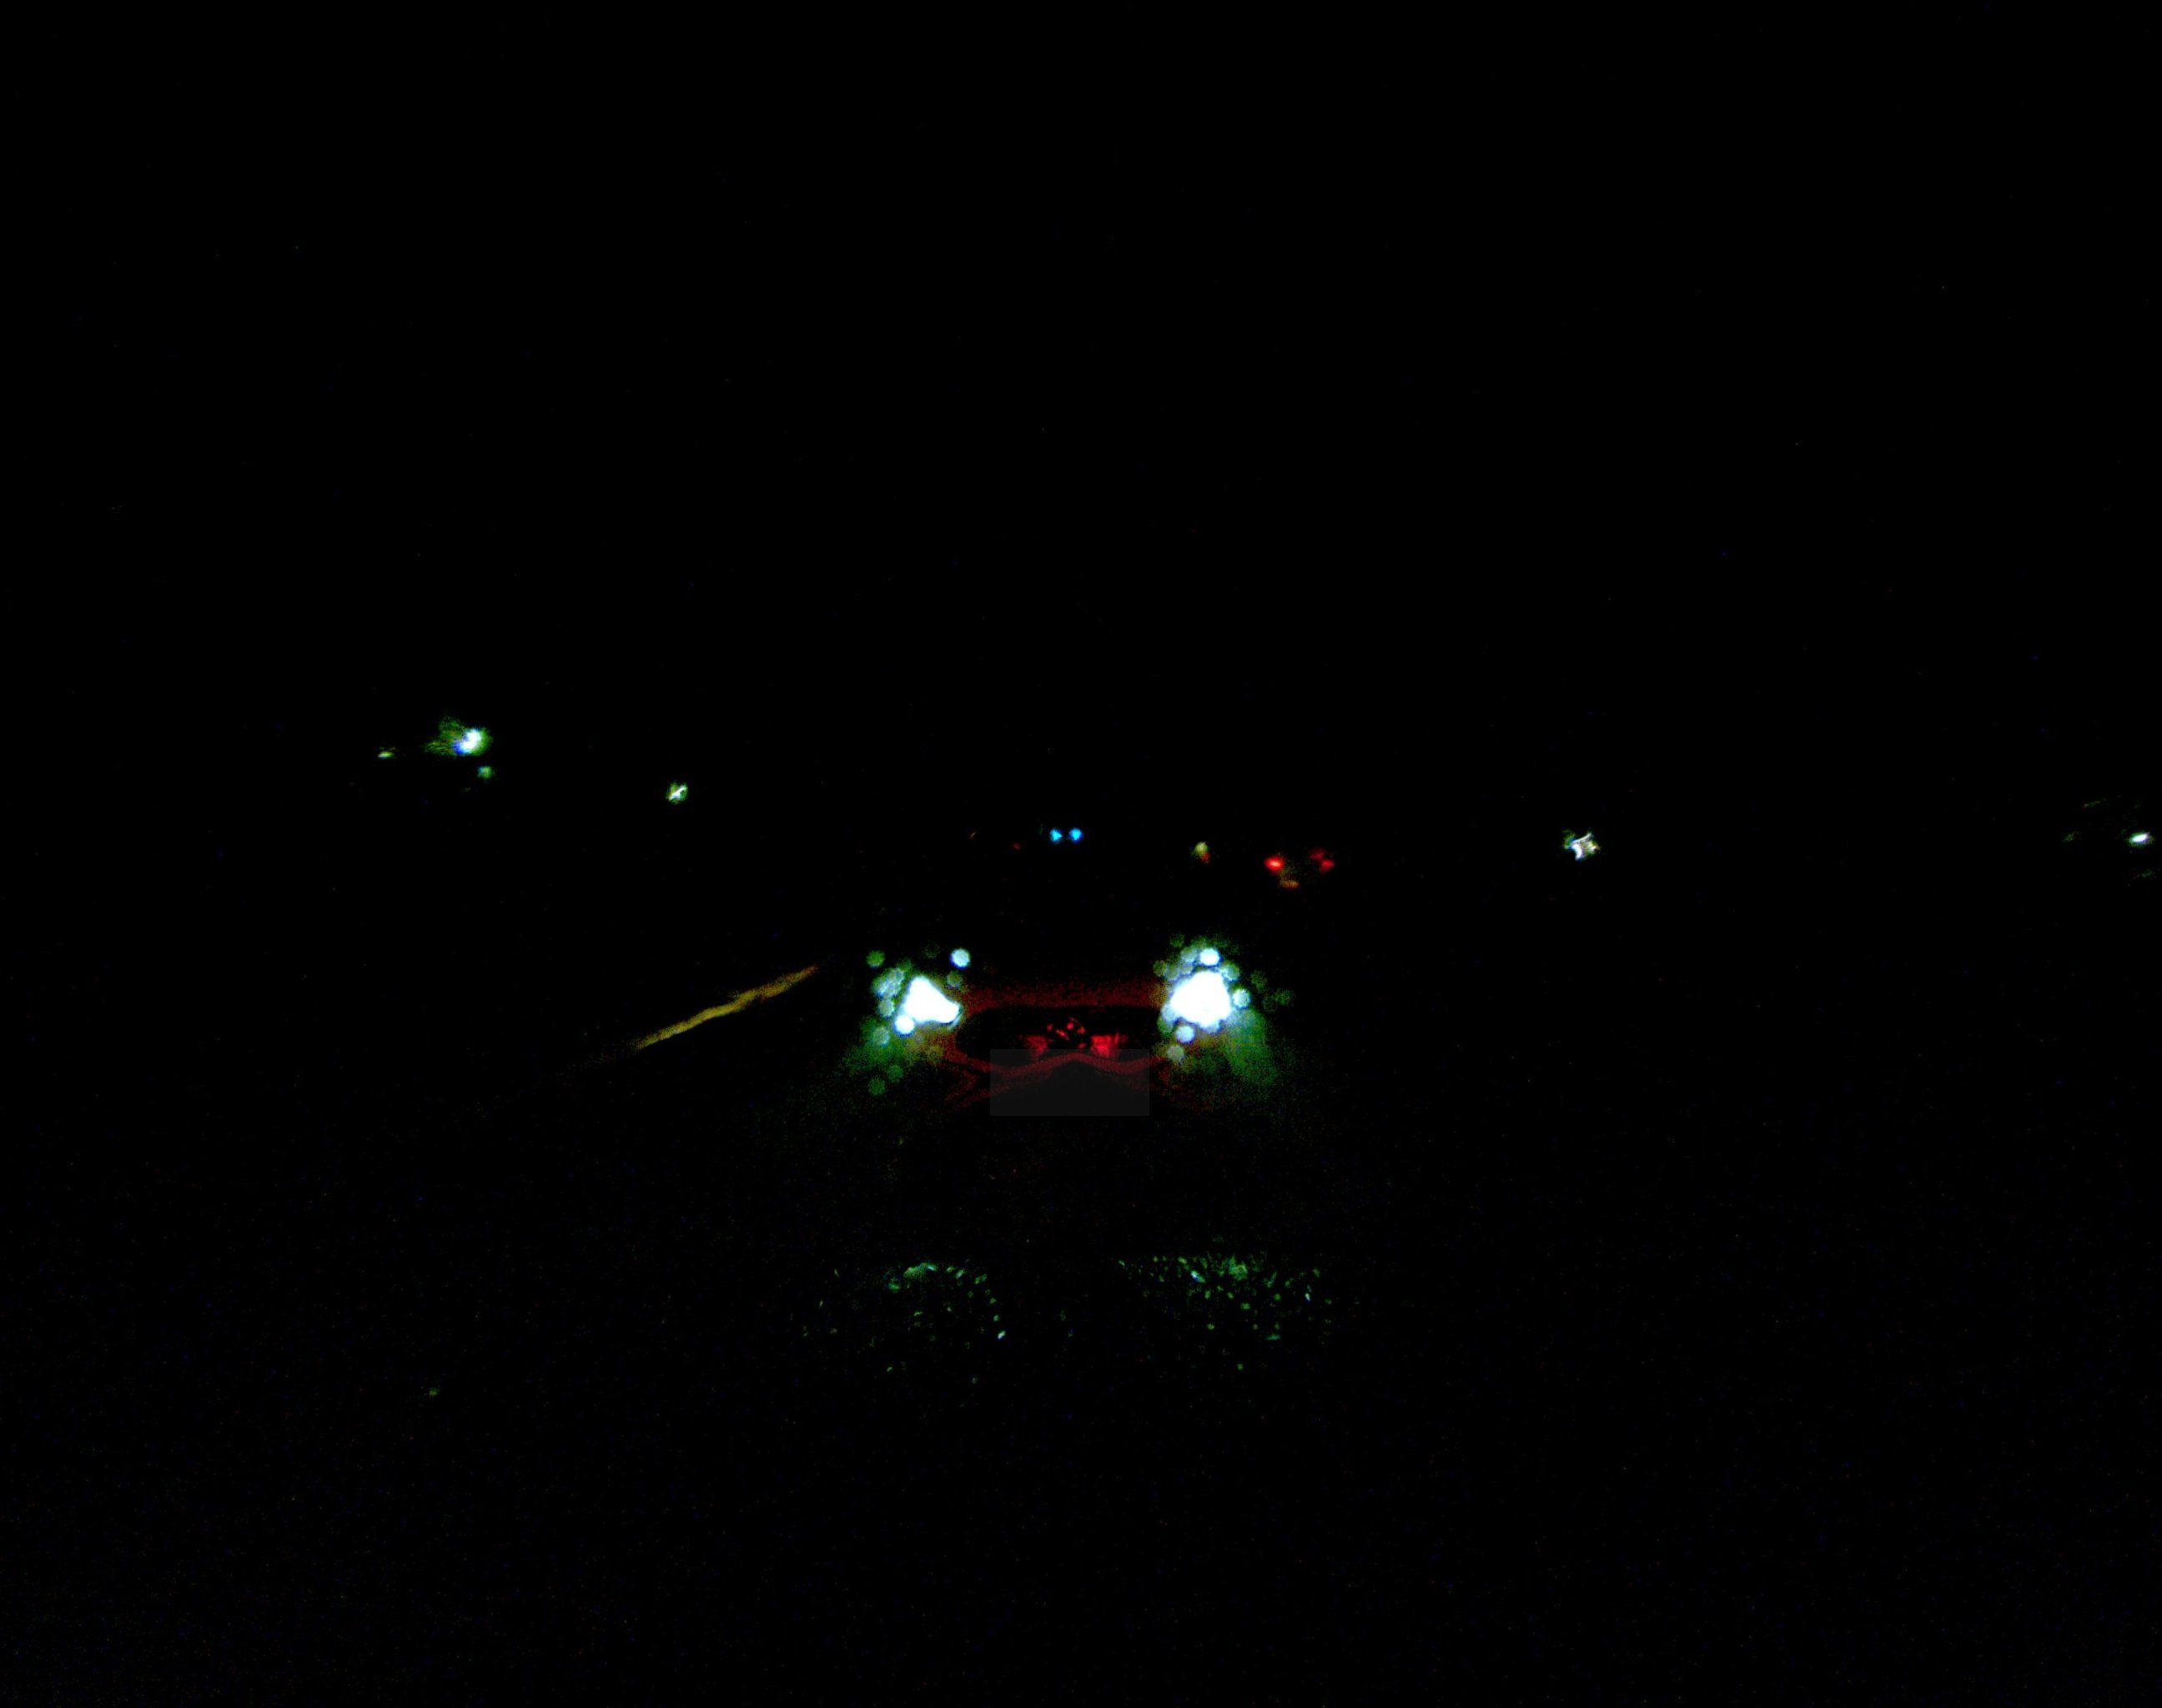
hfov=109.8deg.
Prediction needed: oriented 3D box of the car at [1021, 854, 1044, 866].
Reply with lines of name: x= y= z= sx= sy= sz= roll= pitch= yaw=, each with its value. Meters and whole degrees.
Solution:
car: x=-8.584 y=1.053 z=133.831 sx=2.004 sy=2.002 sz=3.989 roll=-3 pitch=1 yaw=-43

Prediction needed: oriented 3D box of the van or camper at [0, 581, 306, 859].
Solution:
van or camper: x=-12.749 y=-1.374 z=9.055 sx=2.417 sy=2.777 sz=5.763 roll=-3 pitch=1 yaw=-18

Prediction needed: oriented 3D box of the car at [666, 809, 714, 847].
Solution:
car: x=-26.336 y=-1.707 z=51.293 sx=1.937 sy=2.406 sz=4.249 roll=-3 pitch=1 yaw=-16

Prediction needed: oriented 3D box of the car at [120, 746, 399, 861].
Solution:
car: x=-16.382 y=-0.921 z=15.531 sx=2.001 sy=2.002 sz=3.994 roll=-3 pitch=1 yaw=-16

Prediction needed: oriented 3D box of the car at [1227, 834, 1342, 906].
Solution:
car: x=6.274 y=0.459 z=24.063 sx=2.090 sy=2.002 sz=4.712 roll=-1 pitch=0 yaw=-3

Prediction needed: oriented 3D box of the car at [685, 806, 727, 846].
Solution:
car: x=-27.812 y=-2.069 z=56.497 sx=1.937 sy=2.759 sz=4.249 roll=-3 pitch=1 yaw=-16

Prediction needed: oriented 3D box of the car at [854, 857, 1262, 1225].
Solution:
car: x=-0.075 y=0.882 z=5.697 sx=1.826 sy=1.573 sz=4.354 roll=-2 pitch=1 yaw=1

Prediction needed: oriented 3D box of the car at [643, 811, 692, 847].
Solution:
car: x=-25.024 y=-1.499 z=46.088 sx=1.735 sy=2.002 sz=3.696 roll=-3 pitch=1 yaw=-16

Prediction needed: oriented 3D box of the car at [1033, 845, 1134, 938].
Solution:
car: x=0.218 y=0.692 z=17.099 sx=1.838 sy=1.725 sz=4.942 roll=-2 pitch=1 yaw=5
